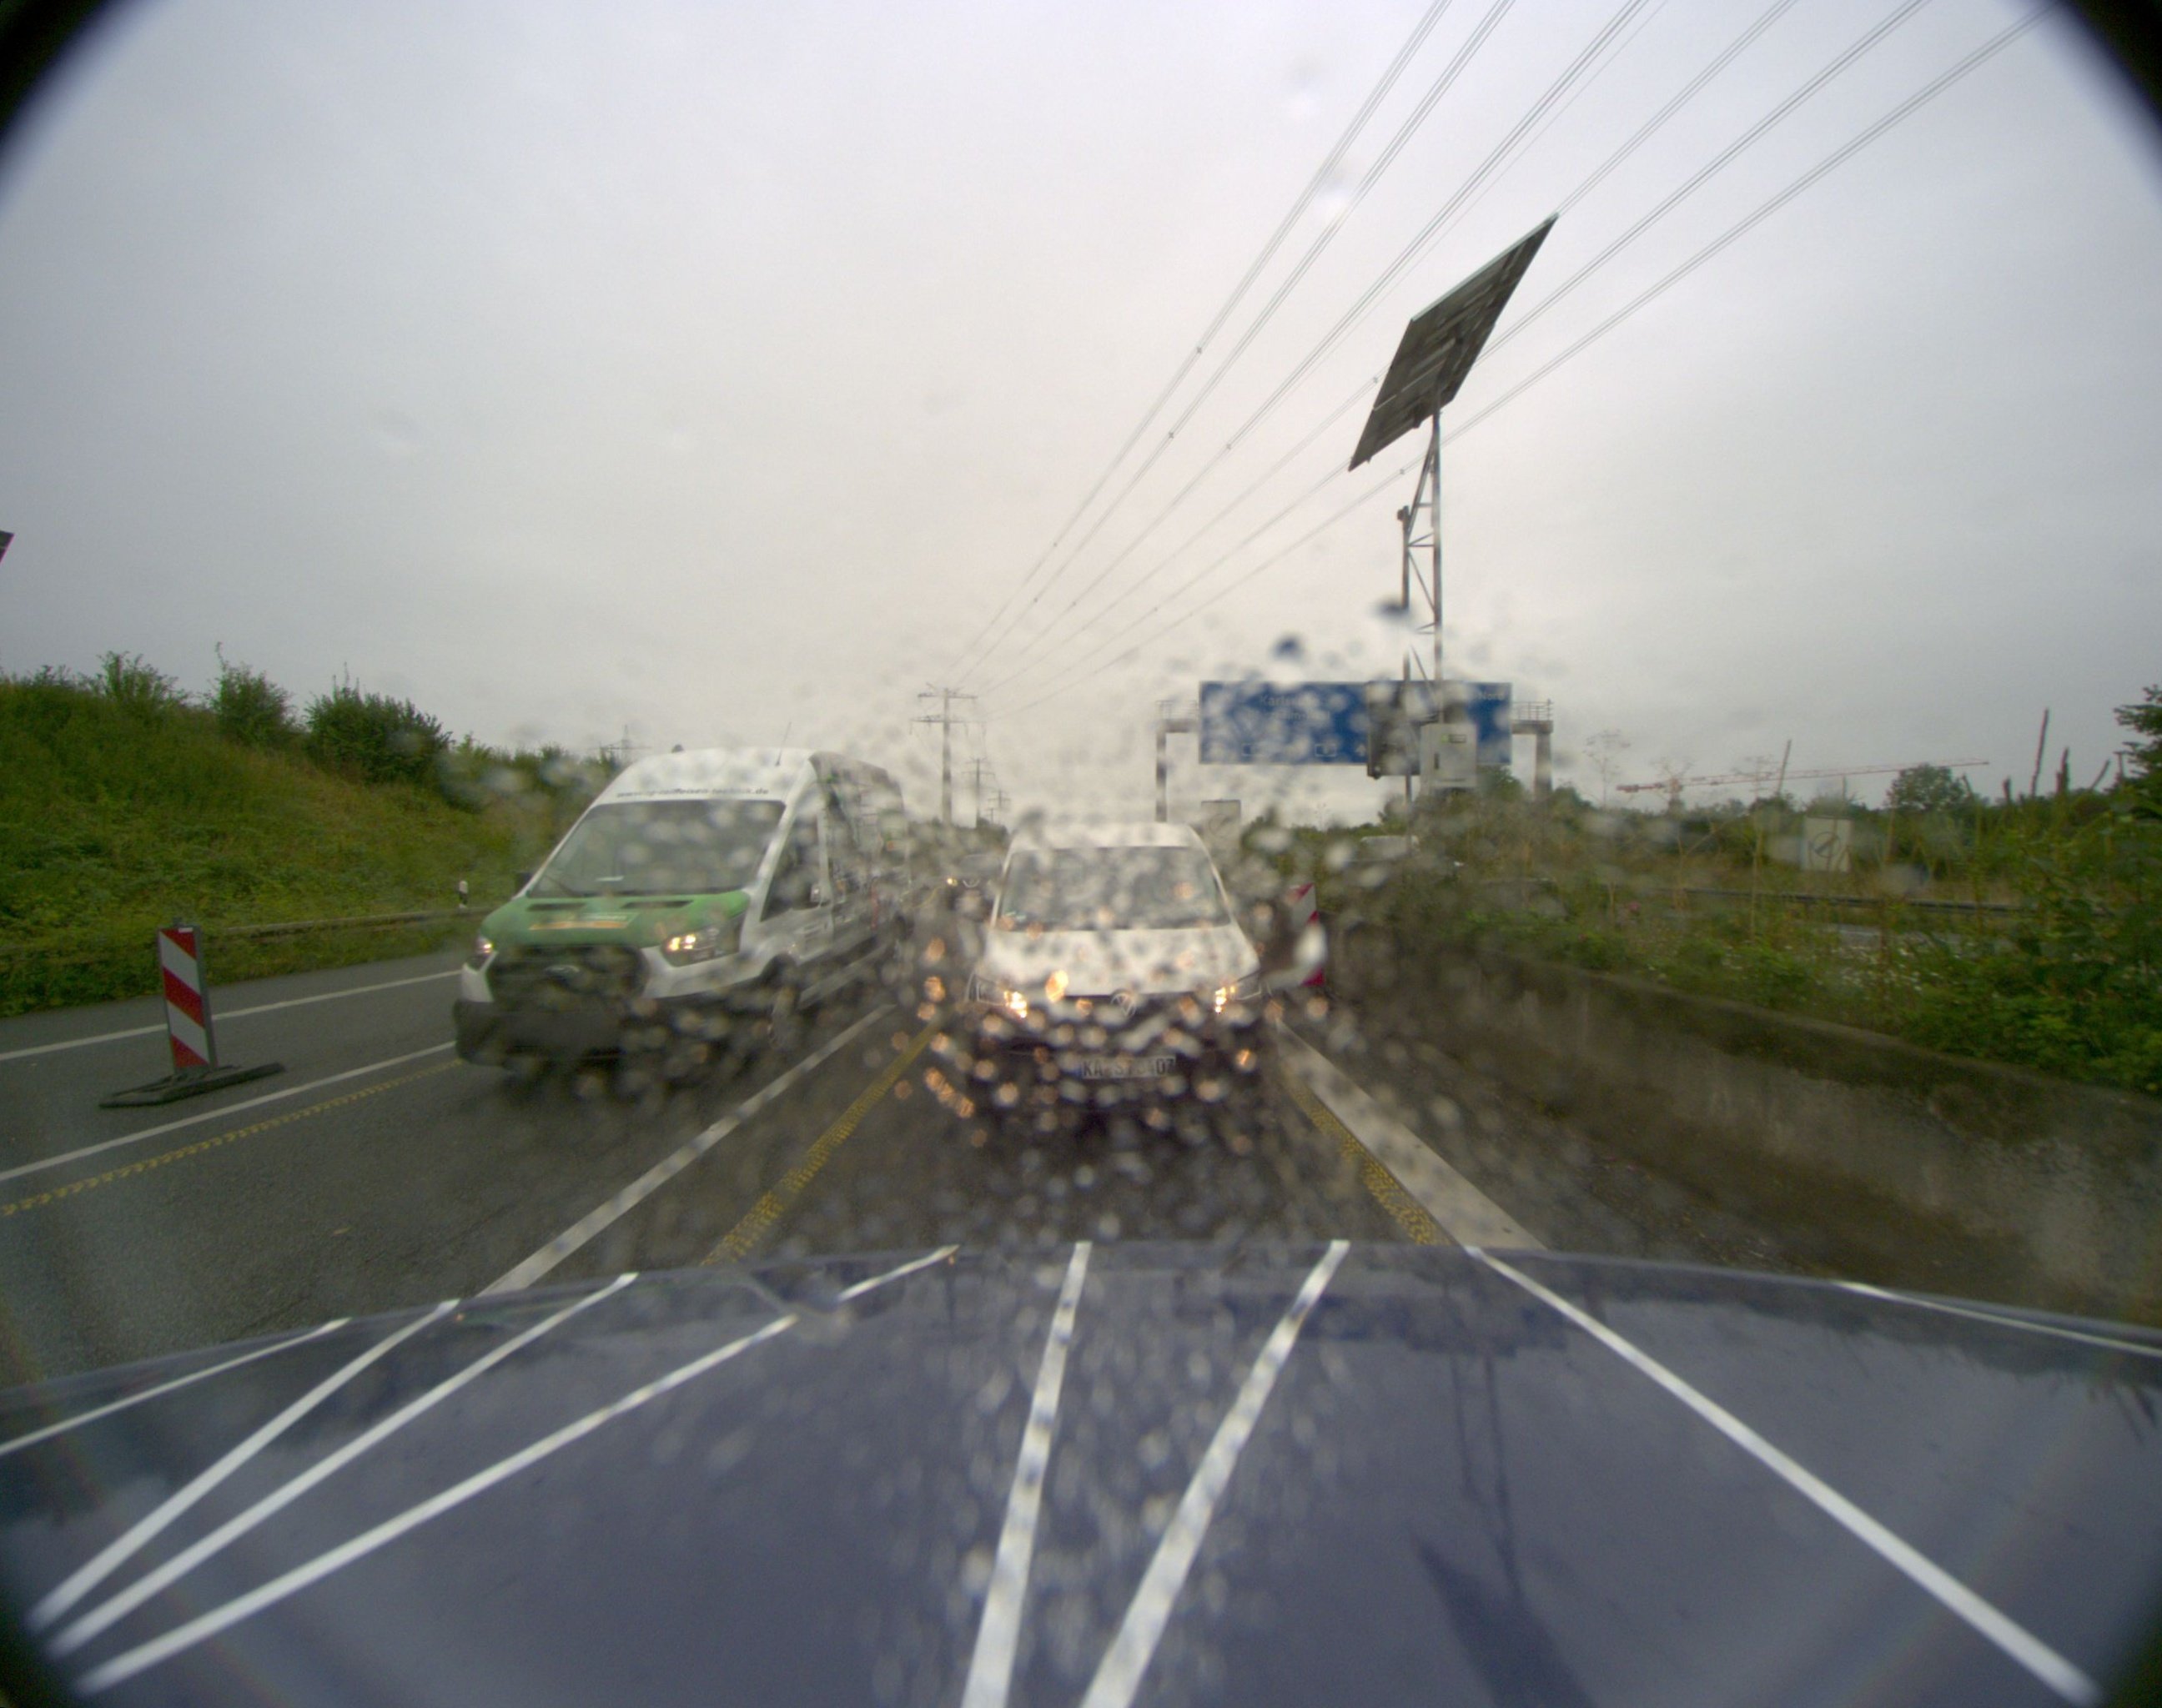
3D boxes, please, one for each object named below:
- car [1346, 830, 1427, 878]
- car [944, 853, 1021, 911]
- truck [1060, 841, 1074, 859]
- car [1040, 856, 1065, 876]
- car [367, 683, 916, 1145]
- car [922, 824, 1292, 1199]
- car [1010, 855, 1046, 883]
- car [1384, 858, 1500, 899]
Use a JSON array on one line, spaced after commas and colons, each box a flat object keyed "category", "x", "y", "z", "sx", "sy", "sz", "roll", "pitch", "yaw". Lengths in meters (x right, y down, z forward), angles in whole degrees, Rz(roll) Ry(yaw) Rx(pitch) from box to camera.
[{"category": "car", "x": 15.912, "y": -0.010, "z": 39.876, "sx": 2.185, "sy": 2.252, "sz": 5.203, "roll": -1, "pitch": 0, "yaw": 1}, {"category": "car", "x": -3.092, "y": 0.831, "z": 24.611, "sx": 1.688, "sy": 1.649, "sz": 4.281, "roll": -1, "pitch": 0, "yaw": 3}, {"category": "truck", "x": -3.061, "y": -0.913, "z": 168.078, "sx": 2.875, "sy": 4.007, "sz": 8.308, "roll": -1, "pitch": 0, "yaw": 1}, {"category": "car", "x": -2.212, "y": 0.914, "z": 59.727, "sx": 1.804, "sy": 1.432, "sz": 4.149, "roll": -1, "pitch": 0, "yaw": -1}, {"category": "car", "x": -3.283, "y": 0.360, "z": 7.485, "sx": 1.998, "sy": 2.766, "sz": 5.756, "roll": -1, "pitch": 0, "yaw": 0}, {"category": "car", "x": 0.157, "y": 0.769, "z": 5.896, "sx": 1.768, "sy": 1.803, "sz": 4.345, "roll": -1, "pitch": 0, "yaw": 1}, {"category": "car", "x": -3.092, "y": 0.830, "z": 45.048, "sx": 1.804, "sy": 1.523, "sz": 4.149, "roll": -1, "pitch": 0, "yaw": -1}, {"category": "car", "x": 11.889, "y": 0.755, "z": 25.337, "sx": 1.998, "sy": 1.184, "sz": 4.000, "roll": -1, "pitch": 0, "yaw": 1}]
